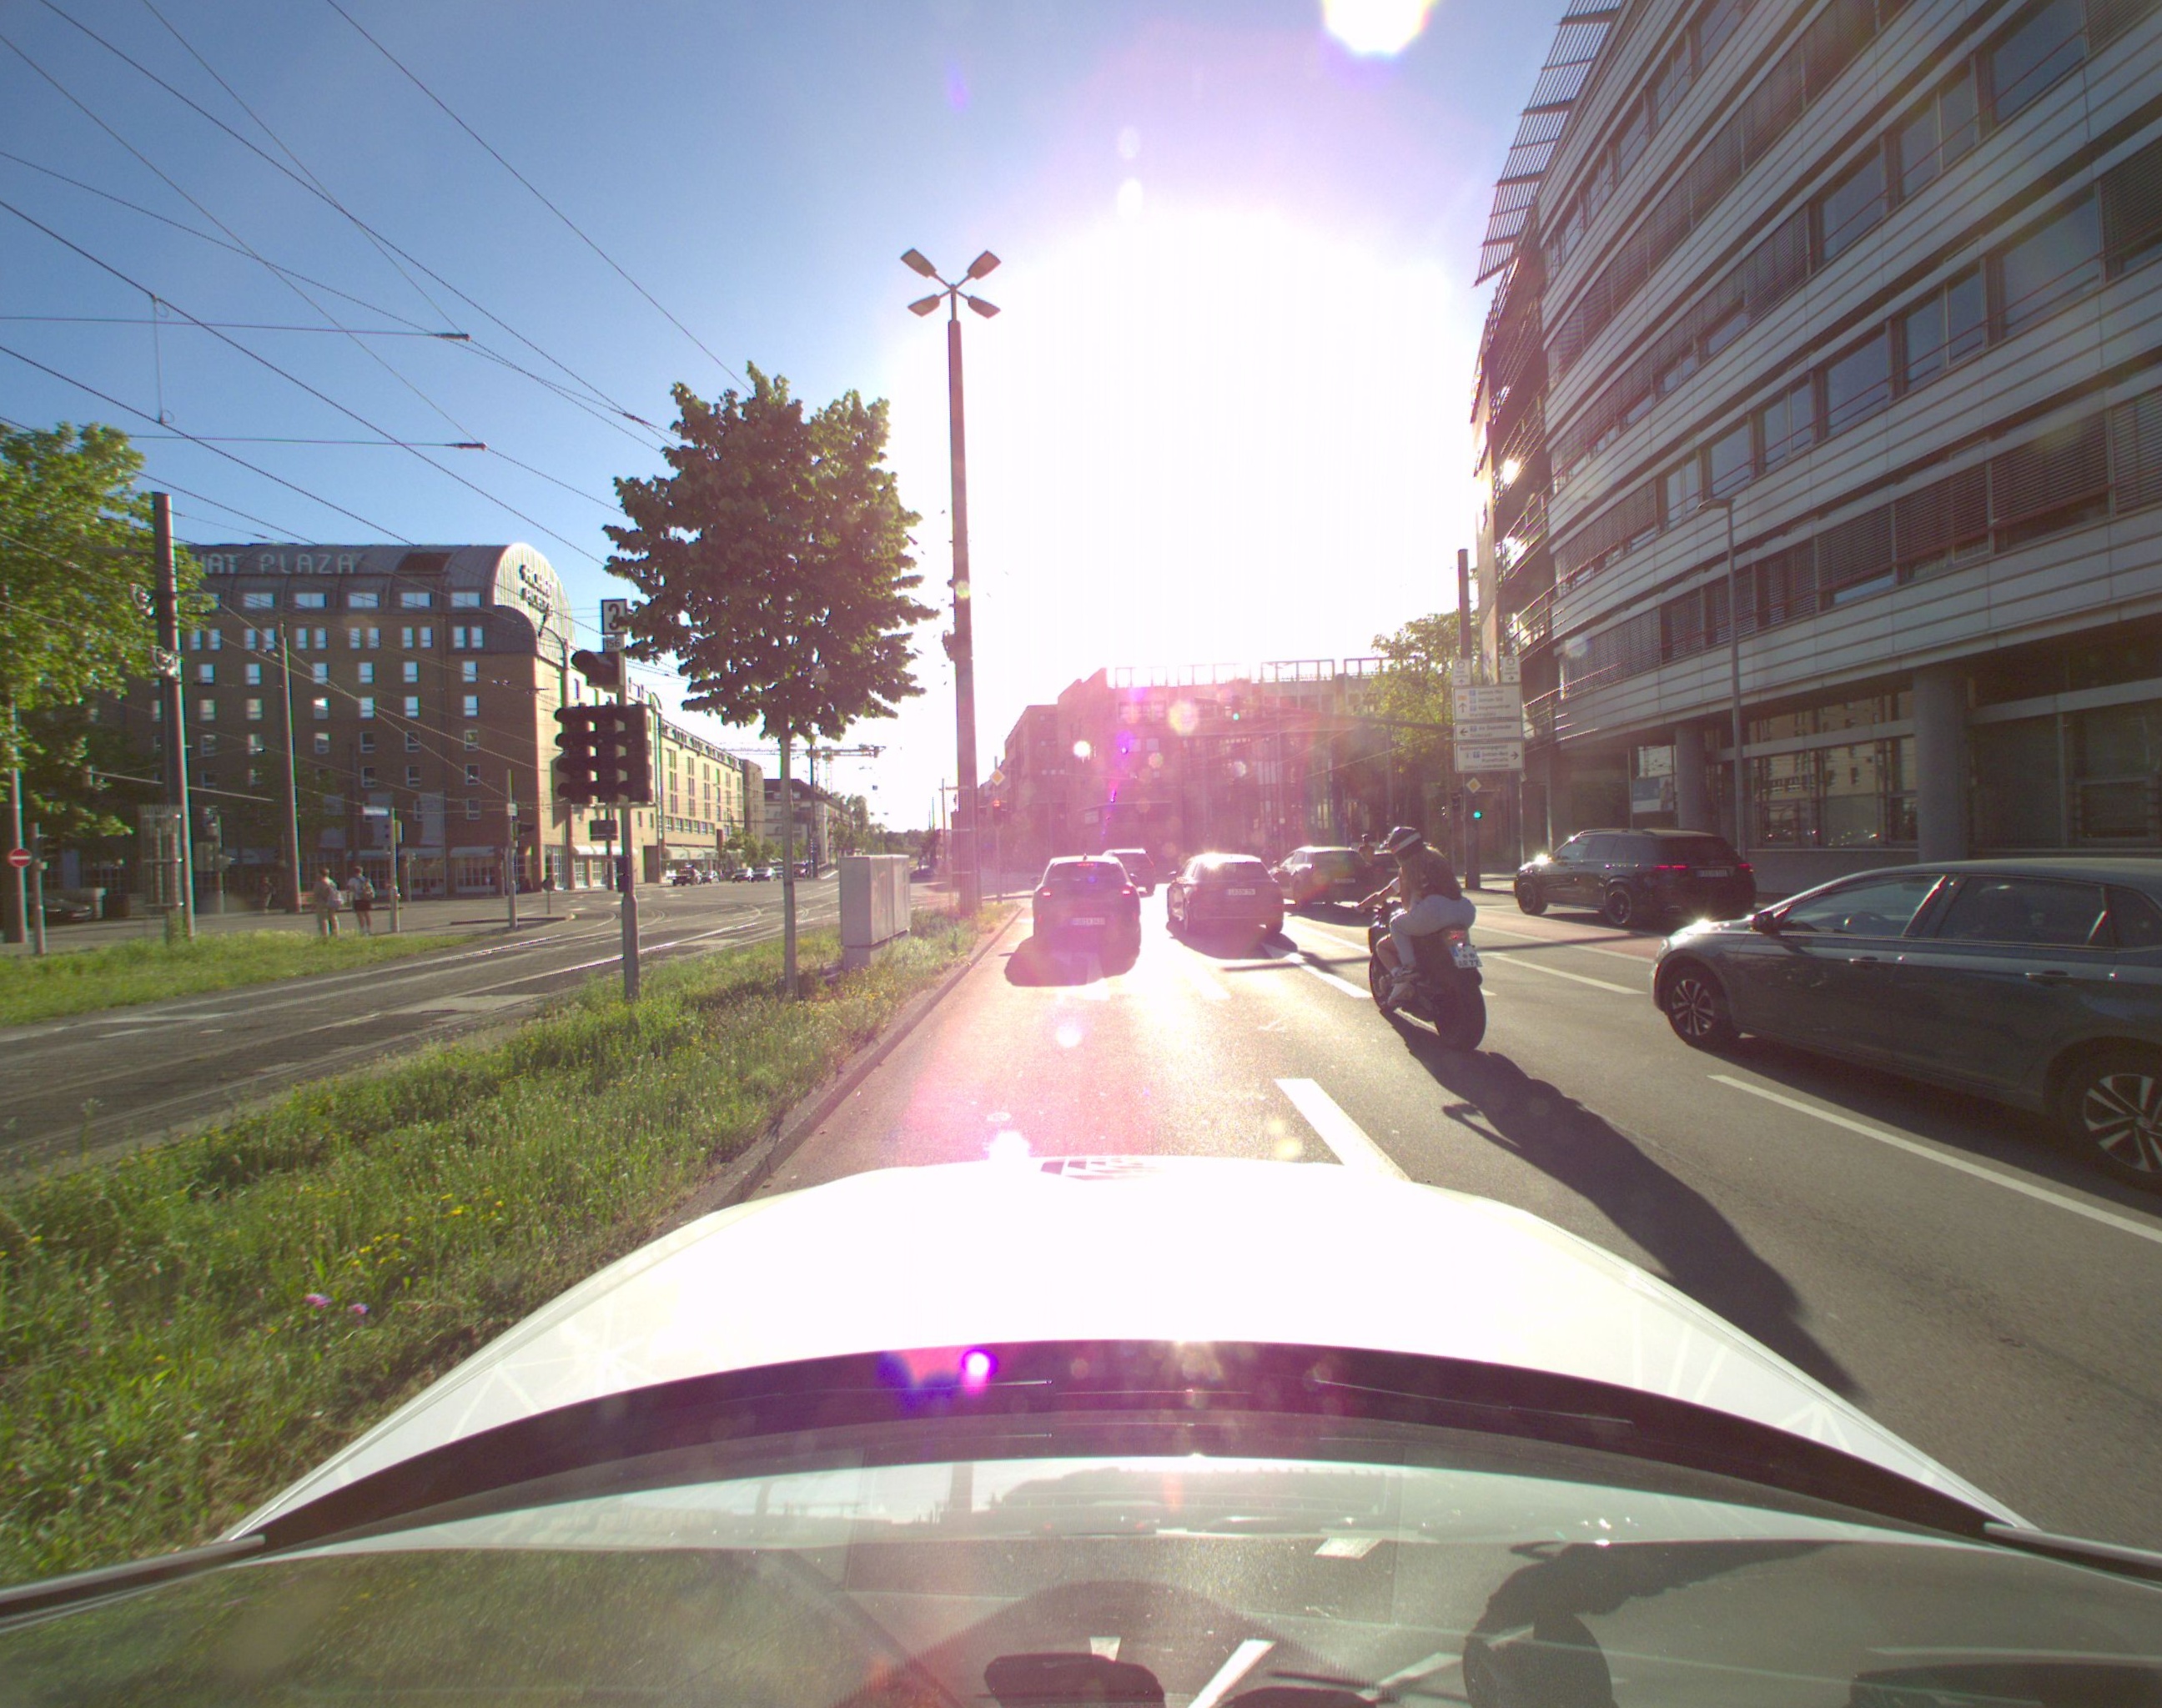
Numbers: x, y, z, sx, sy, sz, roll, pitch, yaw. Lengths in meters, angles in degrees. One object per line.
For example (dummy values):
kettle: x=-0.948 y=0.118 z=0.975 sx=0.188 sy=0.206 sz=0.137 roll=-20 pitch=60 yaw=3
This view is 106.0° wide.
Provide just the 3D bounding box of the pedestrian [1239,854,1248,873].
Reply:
pedestrian: x=12.953 y=0.762 z=64.992 sx=0.528 sy=1.430 sz=0.598 roll=-2 pitch=0 yaw=0

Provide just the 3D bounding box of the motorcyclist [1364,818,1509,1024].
motorcyclist: x=2.850 y=0.501 z=6.642 sx=0.741 sy=1.530 sz=1.022 roll=-2 pitch=0 yaw=4

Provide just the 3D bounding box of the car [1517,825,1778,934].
car: x=10.575 y=0.417 z=15.698 sx=1.987 sy=1.750 sz=4.328 roll=-2 pitch=0 yaw=0

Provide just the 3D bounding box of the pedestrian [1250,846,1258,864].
pedestrian: x=16.388 y=0.108 z=77.117 sx=0.734 sy=1.617 sz=0.562 roll=-2 pitch=0 yaw=9

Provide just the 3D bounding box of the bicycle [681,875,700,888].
bicycle: x=-36.227 y=2.528 z=75.569 sx=0.649 sy=1.085 sz=2.919 roll=-2 pitch=0 yaw=-7

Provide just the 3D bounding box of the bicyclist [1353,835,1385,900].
bicyclist: x=8.246 y=0.377 z=23.328 sx=0.575 sy=1.791 sz=0.864 roll=-2 pitch=0 yaw=1

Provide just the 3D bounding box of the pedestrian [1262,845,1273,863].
pedestrian: x=17.047 y=0.014 z=74.556 sx=0.895 sy=1.617 sz=0.562 roll=-2 pitch=0 yaw=9

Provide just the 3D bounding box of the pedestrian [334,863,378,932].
pedestrian: x=-19.560 y=1.164 z=21.991 sx=0.562 sy=1.817 sz=0.661 roll=-2 pitch=0 yaw=-6

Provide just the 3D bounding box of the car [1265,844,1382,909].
car: x=5.989 y=0.506 z=20.609 sx=1.801 sy=1.457 sz=4.000 roll=-1 pitch=0 yaw=1

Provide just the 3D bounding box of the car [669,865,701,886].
car: x=-40.462 y=2.202 z=83.377 sx=1.996 sy=2.013 sz=3.983 roll=-2 pitch=0 yaw=-13

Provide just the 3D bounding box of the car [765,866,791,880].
car: x=-33.985 y=2.085 z=91.357 sx=1.570 sy=1.449 sz=3.994 roll=-2 pitch=0 yaw=-4

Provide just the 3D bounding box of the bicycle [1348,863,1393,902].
bicycle: x=8.258 y=0.783 z=23.326 sx=0.490 sy=0.997 sz=2.329 roll=-2 pitch=0 yaw=2

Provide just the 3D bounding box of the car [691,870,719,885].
car: x=-41.679 y=2.552 z=90.321 sx=1.887 sy=1.510 sz=3.983 roll=-2 pitch=0 yaw=-13

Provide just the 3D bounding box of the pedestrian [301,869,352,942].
pedestrian: x=-19.484 y=1.309 z=21.040 sx=0.630 sy=1.830 sz=0.661 roll=-2 pitch=0 yaw=-6

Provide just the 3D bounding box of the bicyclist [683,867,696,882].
bicyclist: x=-36.223 y=1.917 z=75.356 sx=0.757 sy=1.375 sz=0.948 roll=-2 pitch=0 yaw=-7

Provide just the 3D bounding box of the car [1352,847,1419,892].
car: x=10.834 y=0.482 z=28.793 sx=1.976 sy=1.419 sz=4.023 roll=0 pitch=1 yaw=24

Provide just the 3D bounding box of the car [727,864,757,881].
car: x=-35.503 y=1.925 z=85.368 sx=1.995 sy=1.596 sz=4.718 roll=-2 pitch=0 yaw=-13

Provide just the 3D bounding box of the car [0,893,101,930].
car: x=-45.997 y=2.526 z=35.541 sx=3.982 sy=1.420 sz=1.756 roll=-2 pitch=0 yaw=-6

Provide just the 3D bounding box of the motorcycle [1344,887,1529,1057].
motorcycle: x=2.877 y=0.895 z=6.857 sx=0.772 sy=1.115 sz=1.971 roll=-2 pitch=0 yaw=4

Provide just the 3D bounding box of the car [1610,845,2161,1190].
car: x=5.455 y=0.686 z=4.957 sx=1.802 sy=1.457 sz=3.998 roll=-1 pitch=0 yaw=-2

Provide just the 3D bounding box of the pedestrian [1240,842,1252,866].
pedestrian: x=11.921 y=0.005 z=58.908 sx=0.700 sy=1.759 sz=0.564 roll=-2 pitch=0 yaw=26

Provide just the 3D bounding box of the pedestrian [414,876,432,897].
pedestrian: x=-48.150 y=2.359 z=59.591 sx=0.674 sy=1.503 sz=0.658 roll=-2 pitch=0 yaw=-3

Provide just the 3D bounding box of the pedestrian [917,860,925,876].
pedestrian: x=-17.123 y=1.490 z=86.972 sx=0.743 sy=1.640 sz=0.764 roll=-2 pitch=0 yaw=-13

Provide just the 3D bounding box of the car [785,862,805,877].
car: x=-29.962 y=1.590 z=85.511 sx=1.749 sy=1.504 sz=3.858 roll=-2 pitch=0 yaw=-17

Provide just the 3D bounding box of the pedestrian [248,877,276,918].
pedestrian: x=-41.619 y=2.220 z=41.386 sx=0.663 sy=2.013 sz=0.678 roll=-2 pitch=0 yaw=1

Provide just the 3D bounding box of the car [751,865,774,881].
car: x=-31.873 y=1.904 z=81.648 sx=1.749 sy=1.504 sz=3.858 roll=-2 pitch=0 yaw=-17

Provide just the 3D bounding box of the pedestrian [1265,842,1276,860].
pedestrian: x=17.668 y=-0.292 z=75.795 sx=0.895 sy=1.617 sz=0.562 roll=-2 pitch=0 yaw=9

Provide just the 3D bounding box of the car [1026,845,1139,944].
car: x=0.085 y=0.602 z=14.237 sx=1.643 sy=1.433 sz=4.002 roll=-2 pitch=0 yaw=2

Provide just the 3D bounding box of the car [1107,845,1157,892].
car: x=1.905 y=0.510 z=31.192 sx=1.731 sy=1.651 sz=4.002 roll=-2 pitch=0 yaw=2

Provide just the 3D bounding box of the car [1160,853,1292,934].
car: x=2.694 y=0.679 z=16.015 sx=1.733 sy=1.349 sz=3.997 roll=-2 pitch=0 yaw=-2
